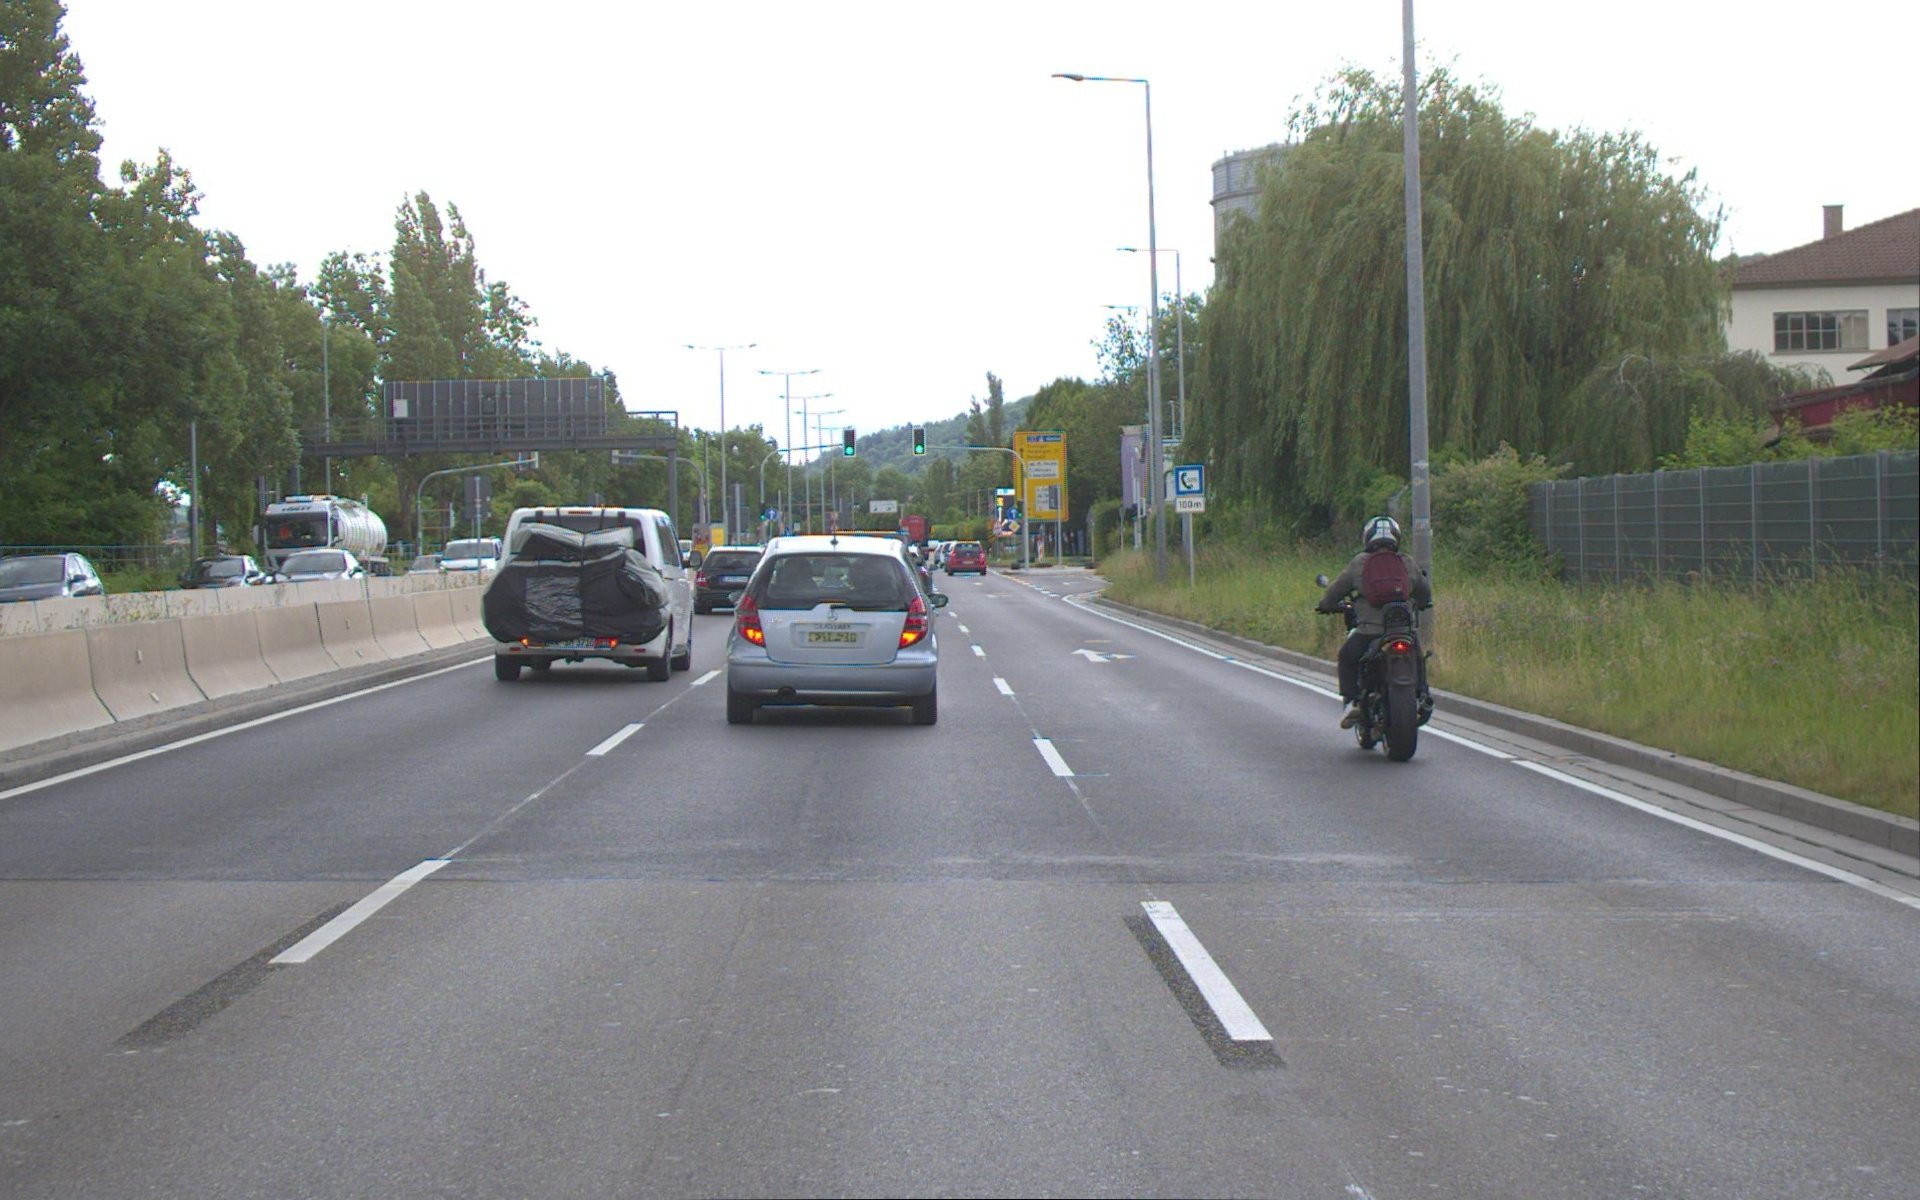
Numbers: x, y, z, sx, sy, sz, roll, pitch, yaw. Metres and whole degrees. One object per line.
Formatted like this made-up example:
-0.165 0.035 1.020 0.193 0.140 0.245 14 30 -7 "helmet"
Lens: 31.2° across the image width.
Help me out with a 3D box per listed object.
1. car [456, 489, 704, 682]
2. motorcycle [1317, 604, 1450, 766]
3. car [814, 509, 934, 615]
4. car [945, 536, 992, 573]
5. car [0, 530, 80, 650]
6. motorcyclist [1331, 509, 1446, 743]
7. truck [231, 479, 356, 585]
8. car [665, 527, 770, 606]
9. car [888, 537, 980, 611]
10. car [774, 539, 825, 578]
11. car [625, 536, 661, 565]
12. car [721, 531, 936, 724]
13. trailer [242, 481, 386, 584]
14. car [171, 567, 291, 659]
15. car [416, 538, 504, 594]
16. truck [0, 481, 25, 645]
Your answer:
-4.063 -0.198 37.562 2.214 1.919 5.003 1 1 -1 "car"
2.977 0.577 24.322 0.706 1.036 2.027 1 1 1 "motorcycle"
-1.416 -0.666 58.033 1.907 1.678 4.000 1 1 0 "car"
0.394 -2.044 153.290 1.993 1.546 4.000 1 1 1 "car"
-15.912 -0.200 56.568 1.816 1.870 4.101 1 1 0 "car"
3.010 0.173 24.200 0.685 1.604 0.845 1 1 1 "motorcyclist"
-21.099 -2.167 109.083 3.098 3.208 5.392 1 1 -3 "truck"
-4.993 -0.716 71.310 1.993 1.546 4.001 1 1 -2 "car"
-0.555 -0.566 72.191 1.840 1.459 4.000 1 1 -1 "car"
-6.589 -1.725 141.460 1.993 1.546 4.001 1 1 -2 "car"
-19.456 -3.050 211.191 1.878 1.677 4.126 1 1 -1 "car"
-1.102 0.182 29.835 1.710 1.525 4.000 1 1 -1 "car"
-21.383 -2.261 114.458 3.100 3.209 11.670 1 1 -3 "trailer"
-17.090 0.282 80.785 1.993 2.007 4.000 1 1 -1 "car"
-15.246 -1.052 104.940 1.993 1.612 4.697 1 1 0 "car"
-19.363 -0.590 58.645 2.854 3.096 15.887 1 1 -2 "truck"
